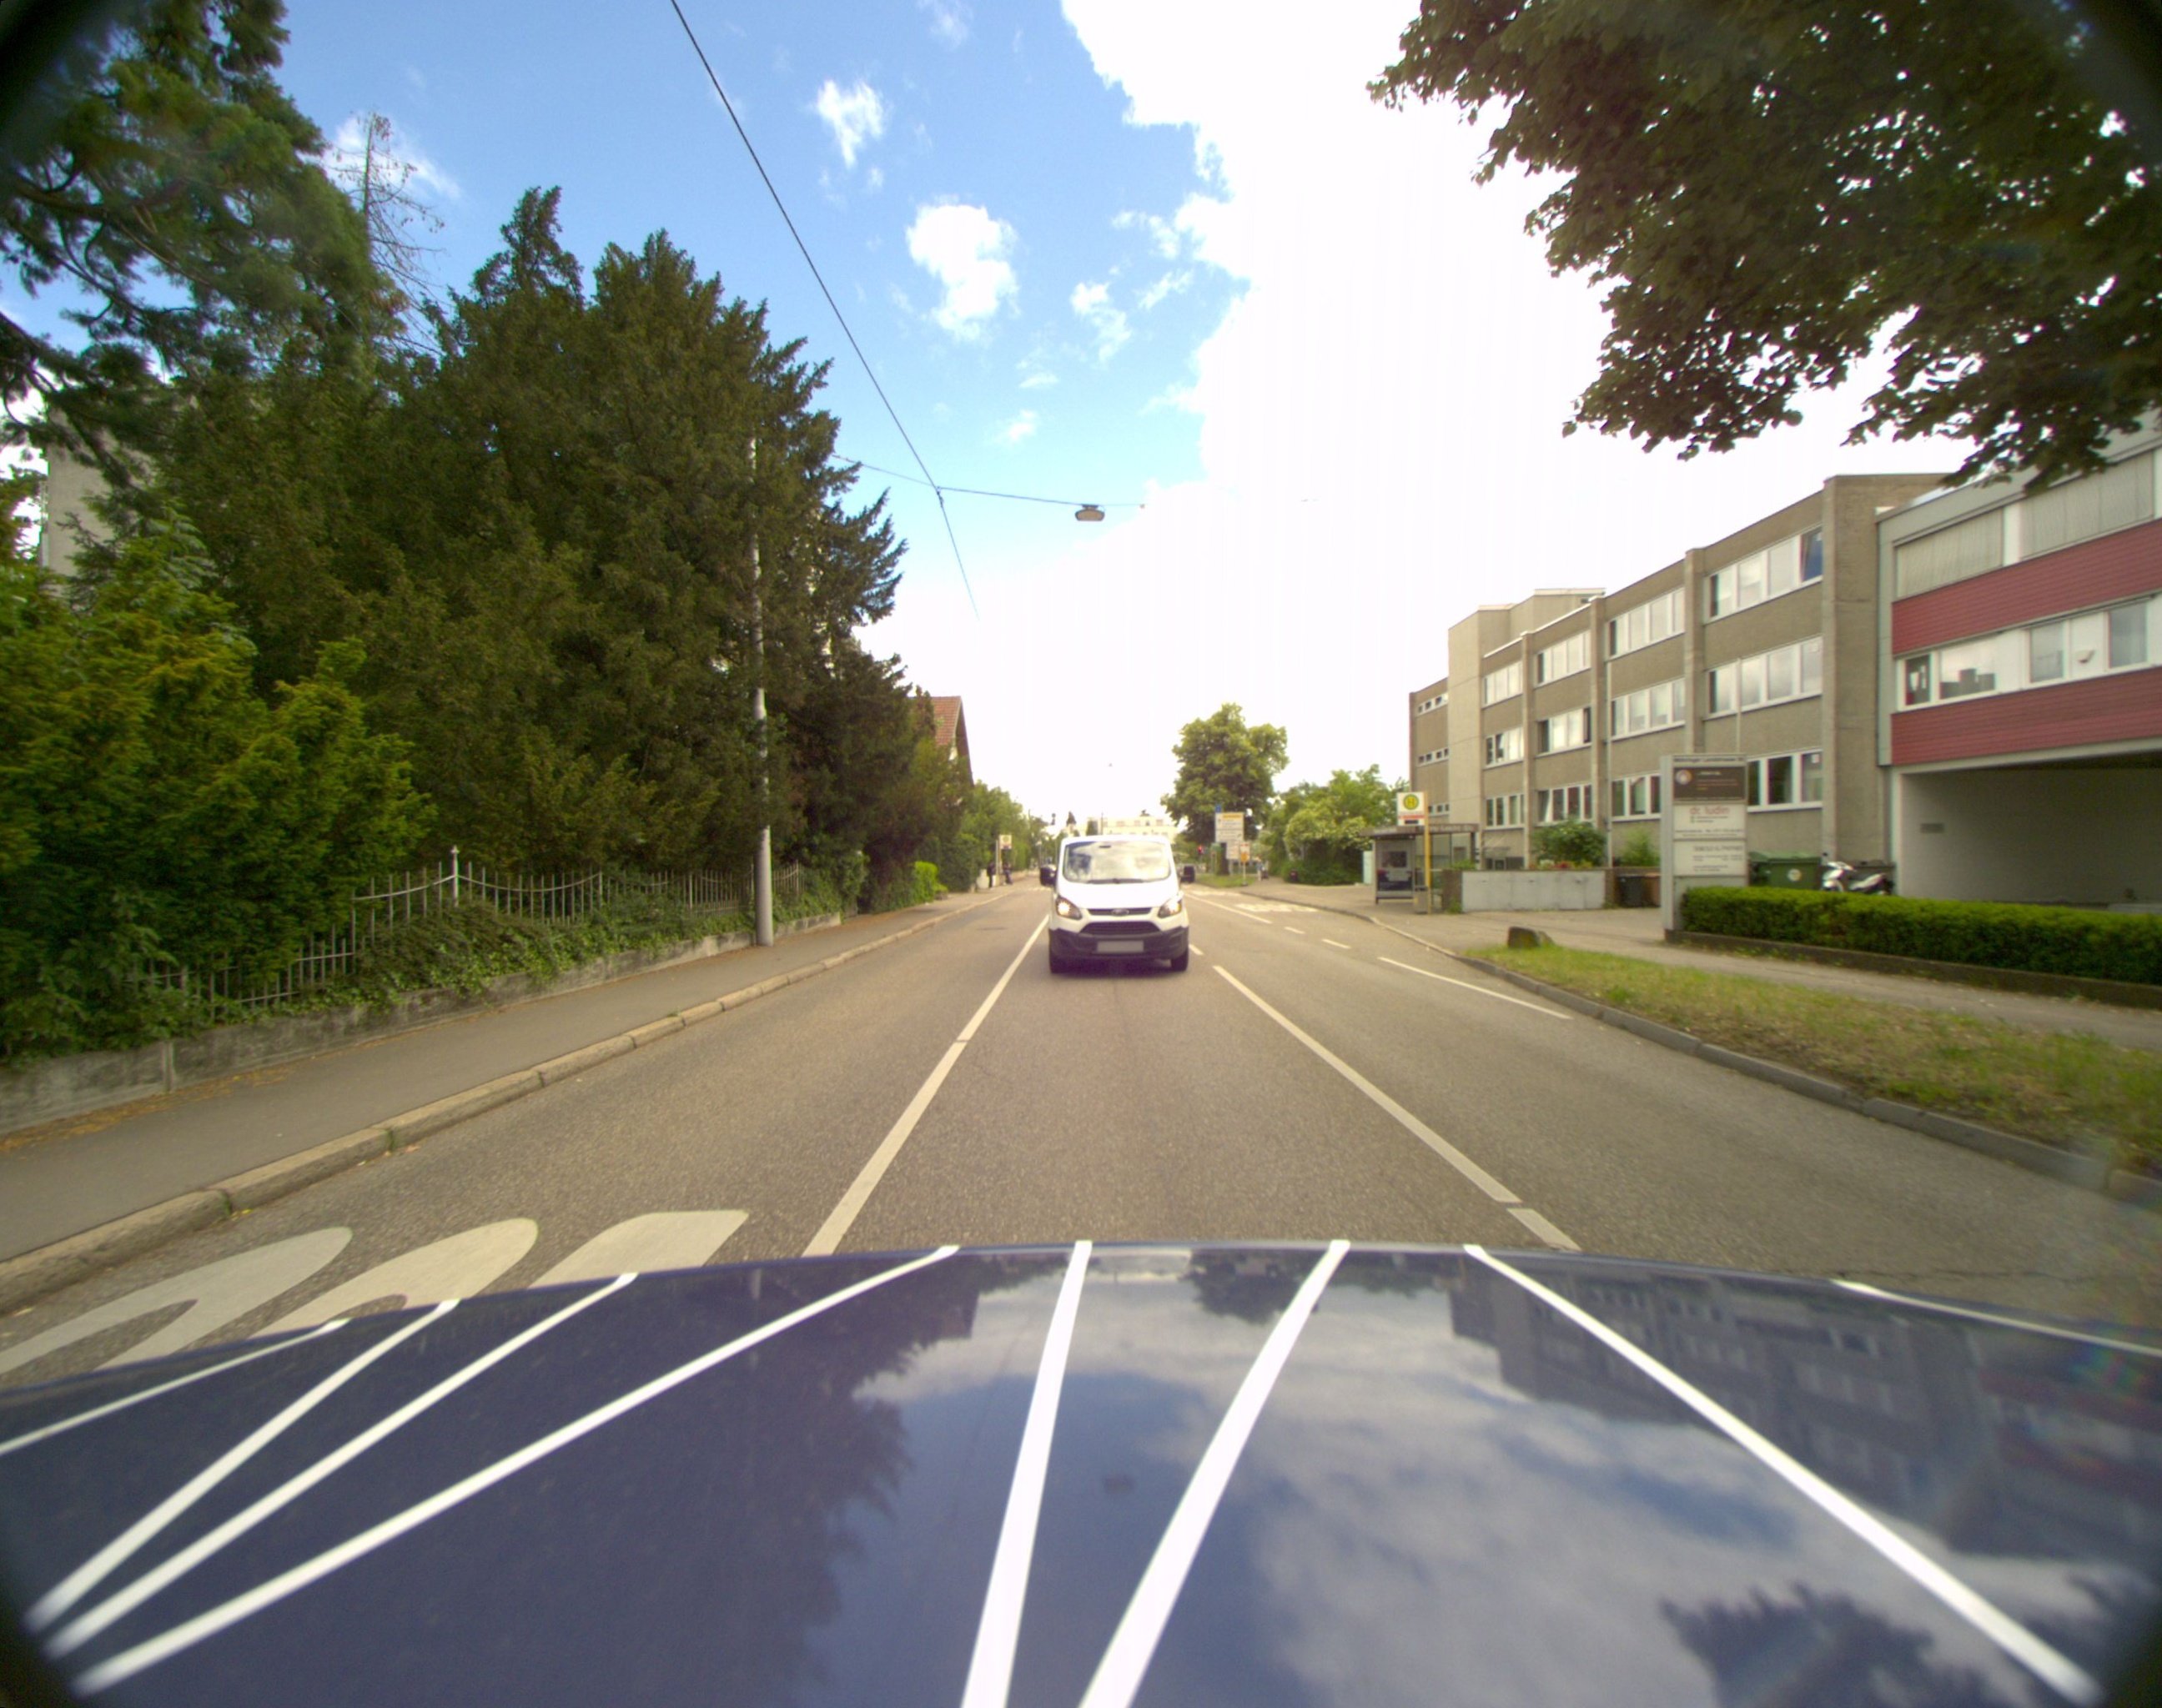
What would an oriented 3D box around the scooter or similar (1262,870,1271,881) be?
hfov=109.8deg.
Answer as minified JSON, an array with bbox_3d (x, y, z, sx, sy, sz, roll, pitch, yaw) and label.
[{"bbox_3d":[13.832,1.576,56.698,0.607,0.782,0.860,-2,0,17],"label":"scooter or similar"}]

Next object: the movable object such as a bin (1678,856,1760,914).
[{"bbox_3d":[16.927,0.807,20.190,1.301,1.456,0.993,-2,1,1],"label":"movable object such as a bin"}]

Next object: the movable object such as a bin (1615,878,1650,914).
[{"bbox_3d":[14.886,1.125,20.505,0.517,0.933,0.562,-2,1,1],"label":"movable object such as a bin"}]

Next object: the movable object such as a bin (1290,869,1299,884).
[{"bbox_3d":[13.612,1.418,48.458,0.566,0.922,0.608,-1,1,16],"label":"movable object such as a bin"}]

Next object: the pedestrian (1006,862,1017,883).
[{"bbox_3d":[-5.043,1.328,55.211,0.661,1.526,0.748,2,1,-1],"label":"pedestrian"}]

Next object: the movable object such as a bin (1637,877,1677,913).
[{"bbox_3d":[15.598,1.102,20.579,0.634,0.933,0.562,-2,1,1],"label":"movable object such as a bin"}]

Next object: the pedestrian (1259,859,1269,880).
[{"bbox_3d":[13.855,1.204,57.602,0.672,1.549,0.520,-2,1,18],"label":"pedestrian"}]

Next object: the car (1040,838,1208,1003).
[{"bbox_3d":[0.497,0.805,12.175,1.999,1.961,5.714,-2,0,-1],"label":"car"}]

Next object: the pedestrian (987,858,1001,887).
[{"bbox_3d":[-5.372,1.156,46.752,0.489,1.756,0.672,-1,1,32],"label":"pedestrian"}]

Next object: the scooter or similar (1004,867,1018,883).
[{"bbox_3d":[-5.008,1.524,54.361,0.478,1.091,0.860,3,0,43],"label":"scooter or similar"}]

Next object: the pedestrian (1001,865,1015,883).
[{"bbox_3d":[-5.100,1.396,53.399,0.916,1.244,0.789,2,0,-5],"label":"pedestrian"}]

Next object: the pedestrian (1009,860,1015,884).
[{"bbox_3d":[-5.250,1.369,57.928,0.344,1.745,0.496,2,1,-4],"label":"pedestrian"}]

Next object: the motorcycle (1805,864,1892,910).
[{"bbox_3d":[20.353,0.867,20.168,1.645,1.133,0.639,-2,1,1],"label":"motorcycle"}]

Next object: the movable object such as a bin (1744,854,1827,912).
[{"bbox_3d":[18.630,0.752,20.118,1.365,1.456,0.885,-2,1,1],"label":"movable object such as a bin"}]
